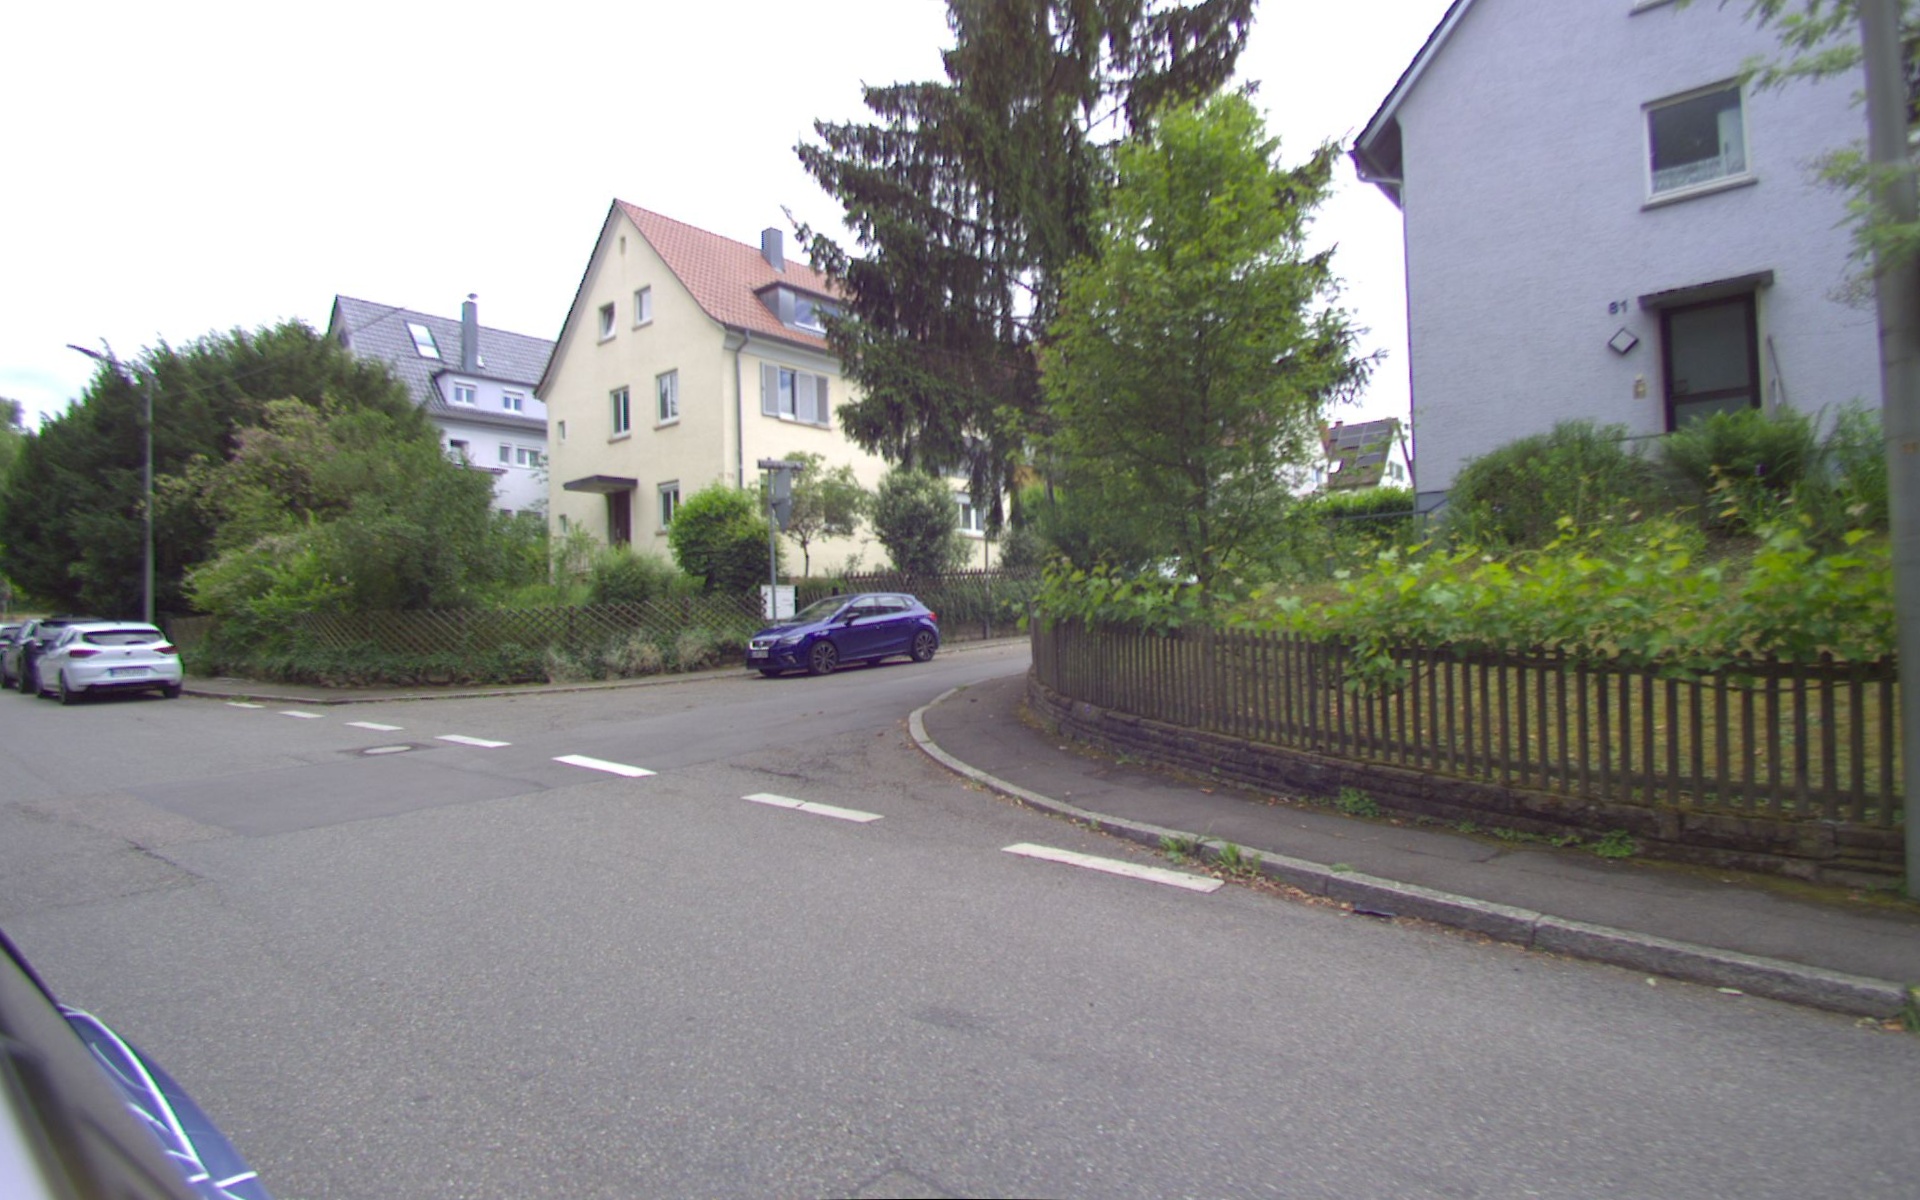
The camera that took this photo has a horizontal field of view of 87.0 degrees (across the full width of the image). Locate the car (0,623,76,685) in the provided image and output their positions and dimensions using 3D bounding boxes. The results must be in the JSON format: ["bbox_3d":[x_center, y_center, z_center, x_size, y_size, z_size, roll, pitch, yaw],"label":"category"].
[{"bbox_3d":[-24.131,1.339,25.709,4.318,1.450,1.766,-2,-1,38],"label":"car"}]

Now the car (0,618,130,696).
[{"bbox_3d":[-19.747,1.182,22.108,4.011,1.511,1.766,-2,-1,40],"label":"car"}]

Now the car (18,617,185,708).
[{"bbox_3d":[-16.358,1.122,19.225,4.011,1.511,1.766,-2,-1,40],"label":"car"}]

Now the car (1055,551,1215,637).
[{"bbox_3d":[4.876,-0.217,27.667,1.928,2.013,4.868,-7,-2,40],"label":"car"}]

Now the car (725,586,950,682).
[{"bbox_3d":[-2.224,0.584,19.131,1.723,1.494,3.942,-3,1,45],"label":"car"}]
